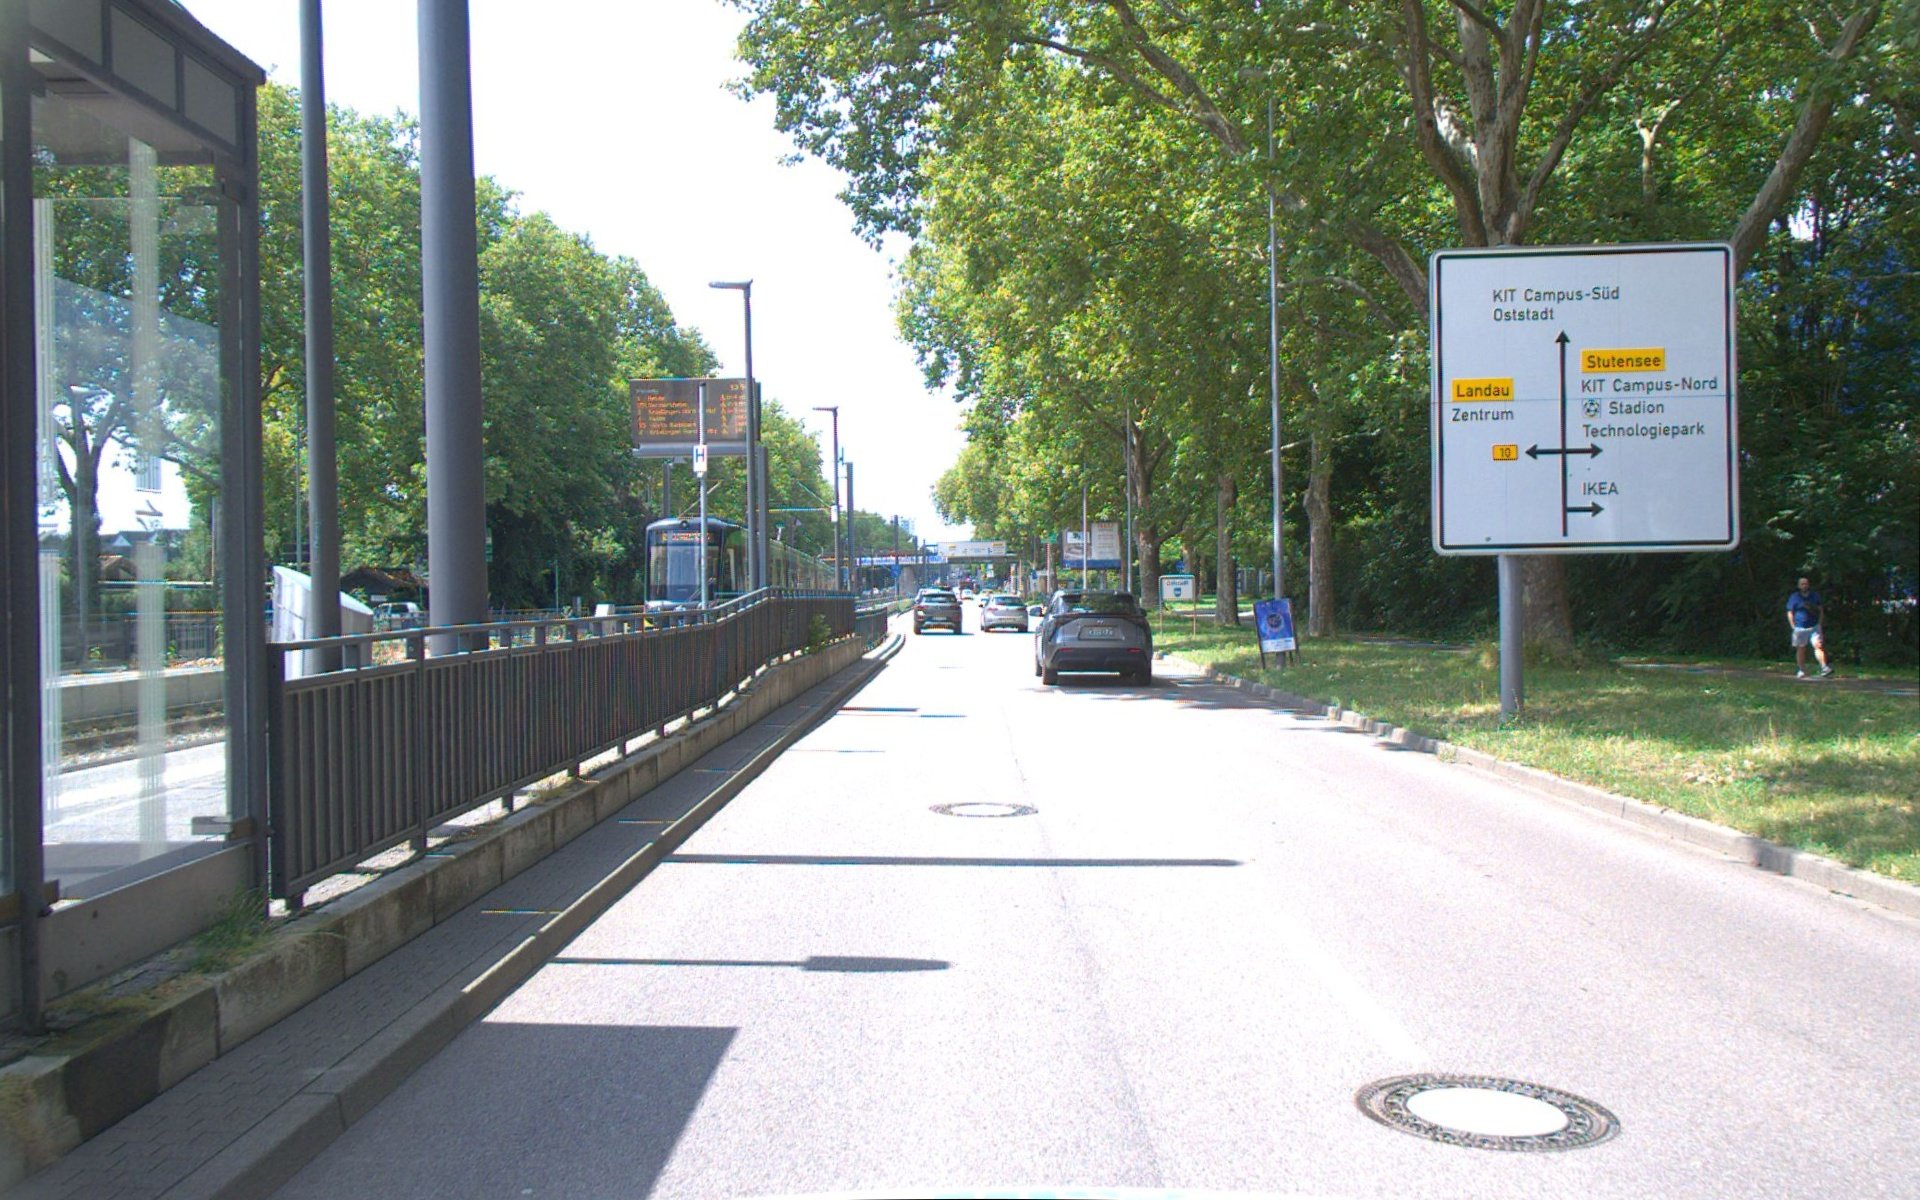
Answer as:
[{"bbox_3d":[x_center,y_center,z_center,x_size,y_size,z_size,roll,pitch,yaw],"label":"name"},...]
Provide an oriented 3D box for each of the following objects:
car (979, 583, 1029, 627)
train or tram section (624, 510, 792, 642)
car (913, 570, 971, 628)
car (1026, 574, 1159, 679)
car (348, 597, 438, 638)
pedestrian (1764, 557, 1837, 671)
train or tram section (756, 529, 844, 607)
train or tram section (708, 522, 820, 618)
[{"bbox_3d":[1.700,0.192,65.392,1.794,1.658,4.295,0,0,-1],"label":"car"},{"bbox_3d":[-6.970,-0.656,48.145,2.975,3.241,14.097,-1,0,-1],"label":"train or tram section"},{"bbox_3d":[-0.641,-0.072,61.333,1.952,2.024,4.364,1,1,2],"label":"car"},{"bbox_3d":[2.237,0.464,29.082,1.859,1.704,4.517,0,-1,-2],"label":"car"},{"bbox_3d":[-27.765,0.854,81.113,3.918,1.892,1.994,-1,2,-13],"label":"car"},{"bbox_3d":[15.436,0.243,30.392,0.819,2.049,0.956,1,0,-1],"label":"pedestrian"},{"bbox_3d":[-7.049,-1.373,74.223,2.975,3.241,9.447,-1,0,0],"label":"train or tram section"},{"bbox_3d":[-7.097,-1.065,61.313,2.975,3.241,9.447,-1,0,0],"label":"train or tram section"}]
